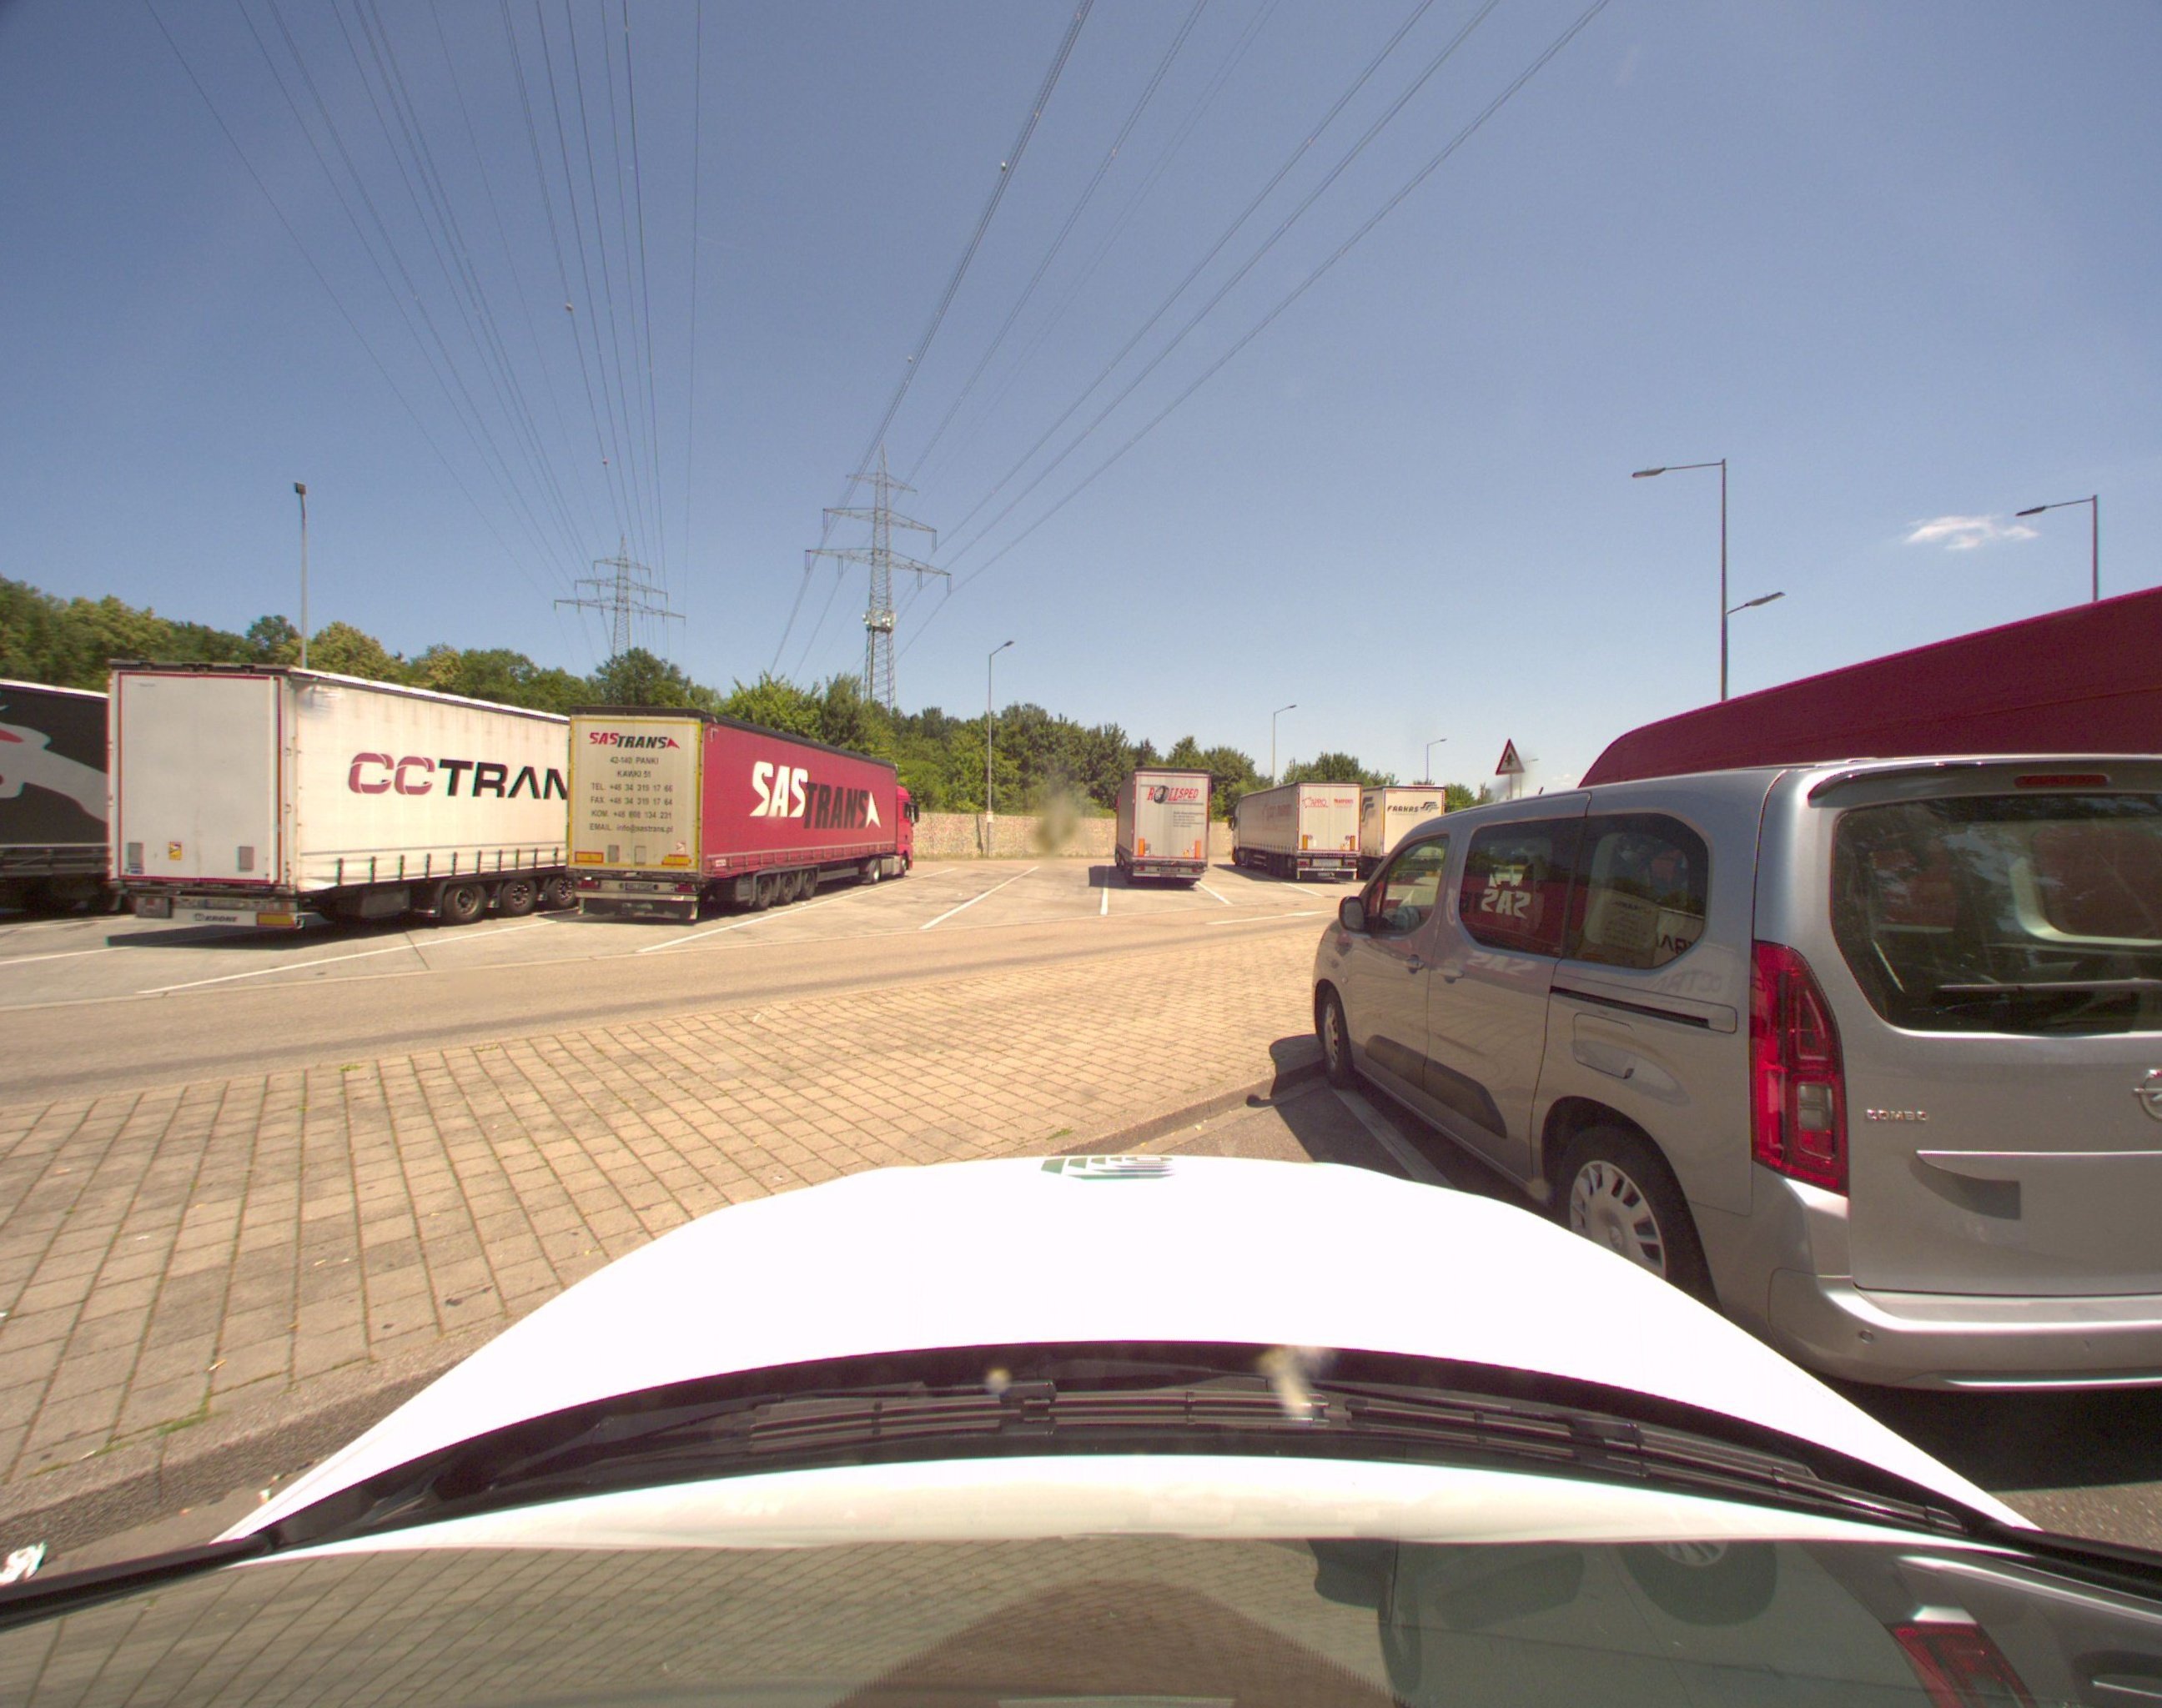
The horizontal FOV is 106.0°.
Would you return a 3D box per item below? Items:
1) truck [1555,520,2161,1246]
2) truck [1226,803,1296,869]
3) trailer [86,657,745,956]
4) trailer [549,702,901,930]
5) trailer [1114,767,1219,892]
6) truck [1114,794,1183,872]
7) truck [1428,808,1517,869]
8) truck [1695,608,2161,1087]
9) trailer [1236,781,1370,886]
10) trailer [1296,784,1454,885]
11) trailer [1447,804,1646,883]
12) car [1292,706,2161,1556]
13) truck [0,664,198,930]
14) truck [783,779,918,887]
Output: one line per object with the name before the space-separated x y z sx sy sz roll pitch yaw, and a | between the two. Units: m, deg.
truck | 5.129 0.124 4.902 1.968 2.622 5.314 0 -1 7
truck | 10.192 -1.070 46.740 2.852 3.521 5.903 1 2 2
trailer | -12.132 -0.901 18.334 2.785 4.084 14.139 1 2 2
trailer | -8.067 -0.938 21.903 2.781 4.084 14.139 1 2 2
trailer | 3.062 -1.058 33.692 3.122 3.989 14.401 1 2 1
truck | 3.228 -1.074 40.586 3.092 3.566 5.903 1 2 2
truck | 24.356 -1.005 50.978 2.792 3.521 5.903 1 2 2
truck | 7.985 -0.033 6.450 2.444 2.912 5.663 -1 -1 7
trailer | 9.928 -1.041 38.639 2.801 3.989 14.403 1 2 2
trailer | 13.601 -1.033 39.602 2.801 3.989 14.403 1 2 2
trailer | 24.099 -0.734 43.747 2.801 3.507 14.403 1 2 2
car | 2.483 0.580 3.879 1.864 1.863 4.176 1 1 0
truck | -18.545 -0.957 13.783 2.726 4.239 3.997 1 2 2
truck | -7.818 -0.775 28.473 2.840 3.327 5.903 1 2 2
